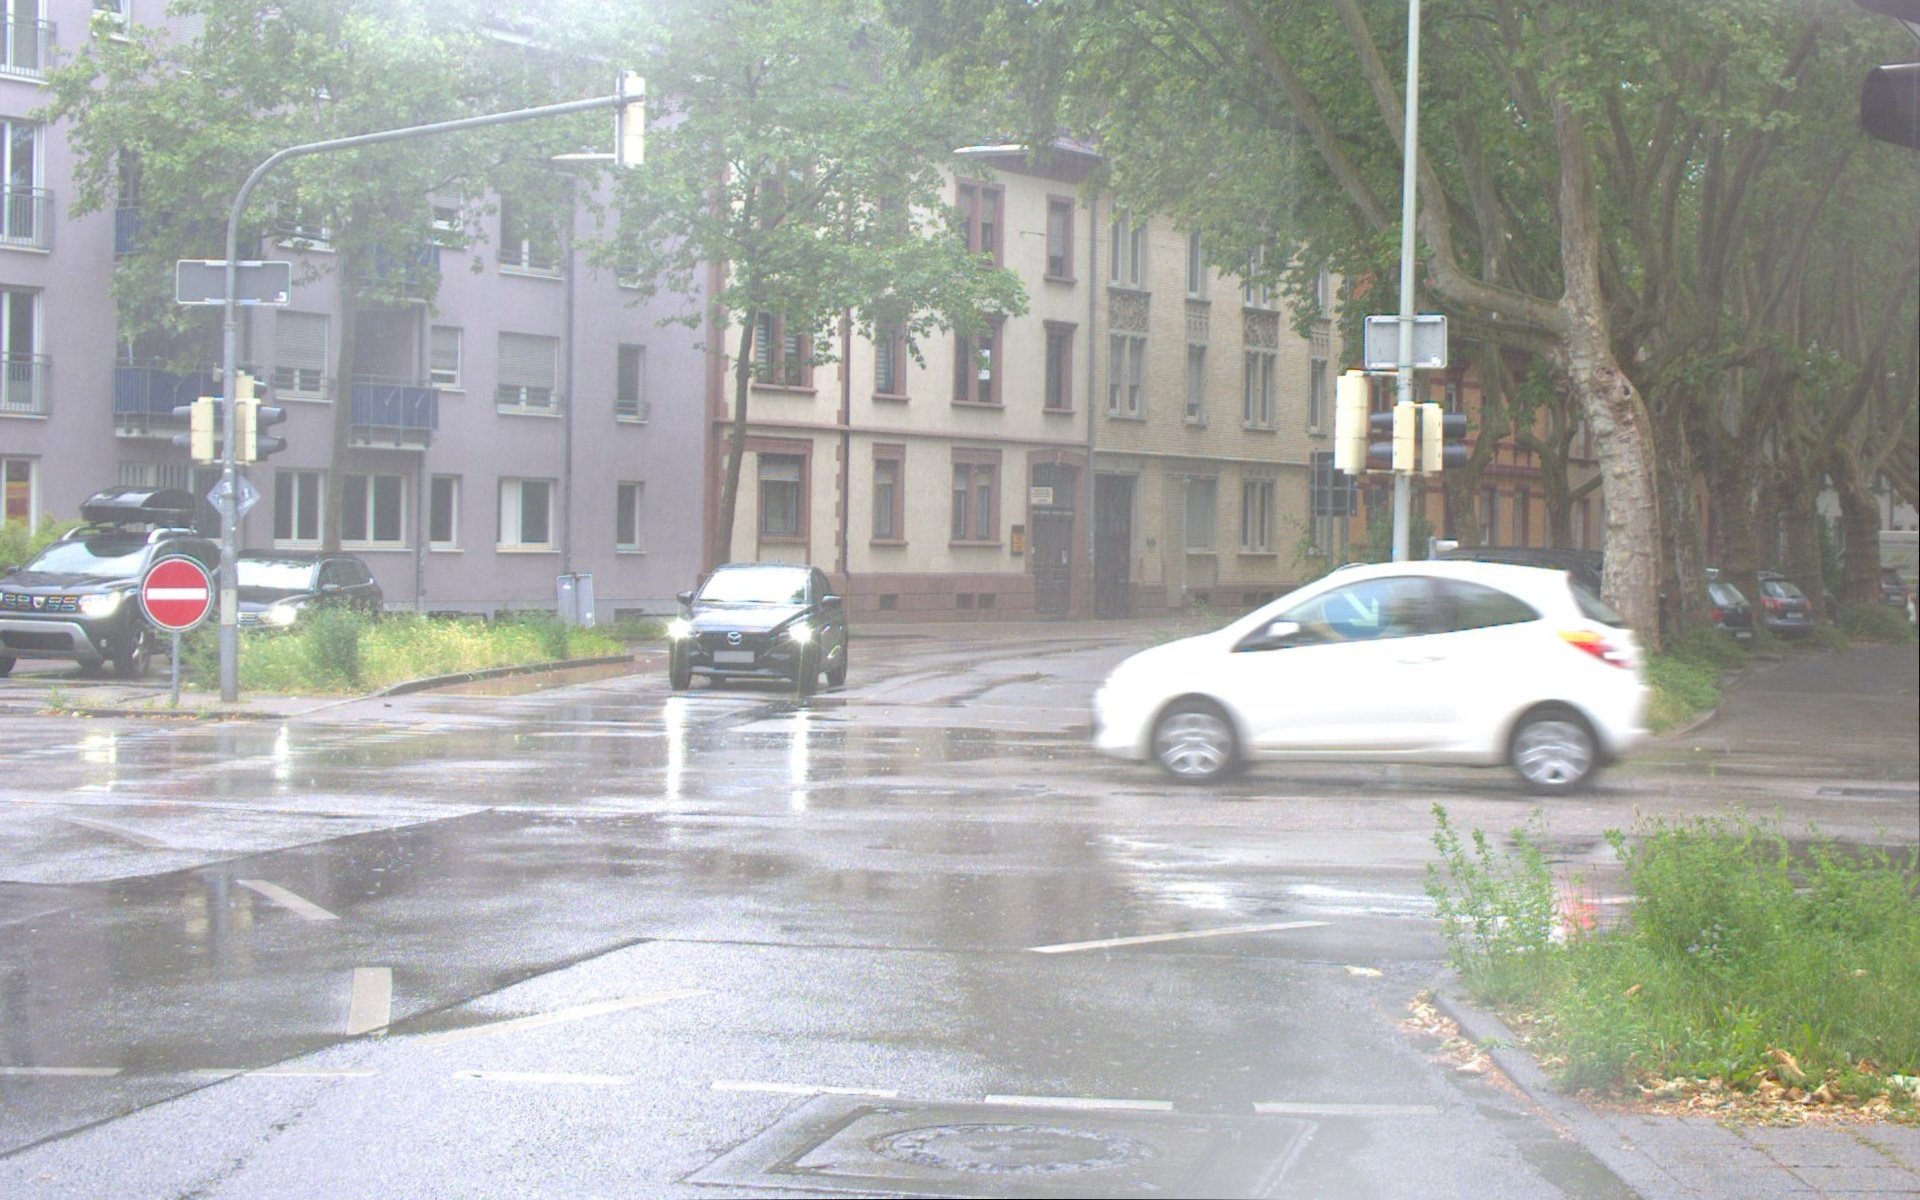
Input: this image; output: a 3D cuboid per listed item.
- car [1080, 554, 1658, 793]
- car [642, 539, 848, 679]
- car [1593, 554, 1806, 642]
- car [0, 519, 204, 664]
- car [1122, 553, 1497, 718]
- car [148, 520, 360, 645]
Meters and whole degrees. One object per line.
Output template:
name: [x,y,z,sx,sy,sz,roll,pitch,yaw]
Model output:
car: [2.739,0.461,22.674,3.643,1.481,1.724,0,1,12]
car: [-2.492,0.075,40.647,1.603,1.547,3.558,0,1,10]
car: [14.050,-0.040,65.337,3.611,1.612,1.679,0,1,28]
car: [-9.948,-0.127,38.810,1.725,1.547,3.559,-1,1,5]
car: [3.371,0.329,32.954,3.480,1.518,1.519,0,1,9]
car: [-9.168,-0.258,44.895,1.725,1.547,3.559,-1,1,5]
